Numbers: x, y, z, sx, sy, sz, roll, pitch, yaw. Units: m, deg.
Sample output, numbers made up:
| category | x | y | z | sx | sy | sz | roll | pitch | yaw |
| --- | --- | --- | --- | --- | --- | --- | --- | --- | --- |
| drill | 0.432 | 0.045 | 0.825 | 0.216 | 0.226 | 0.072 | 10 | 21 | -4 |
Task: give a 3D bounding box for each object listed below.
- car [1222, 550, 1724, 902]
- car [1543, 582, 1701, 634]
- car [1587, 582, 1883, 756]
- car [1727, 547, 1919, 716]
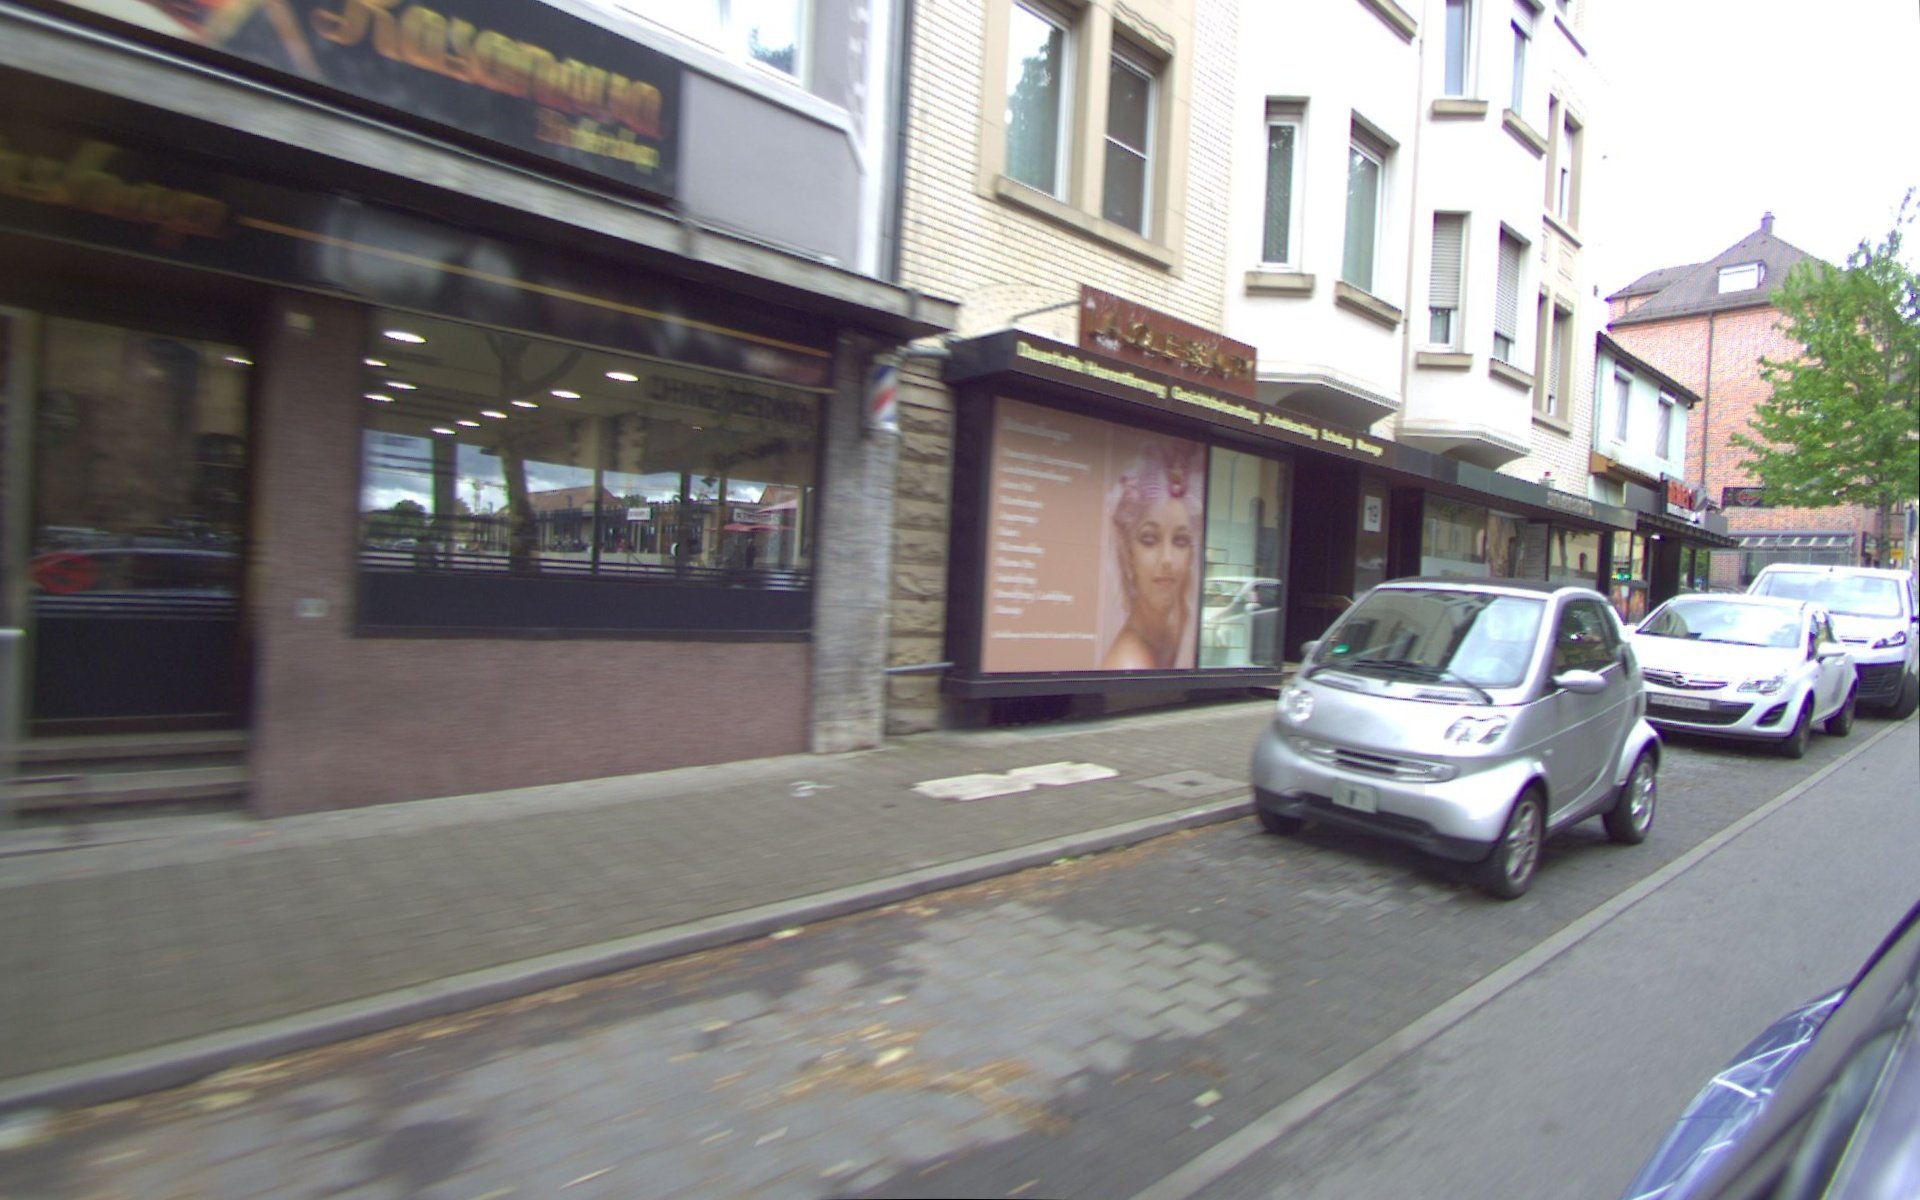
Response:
| category | x | y | z | sx | sy | sz | roll | pitch | yaw |
| --- | --- | --- | --- | --- | --- | --- | --- | --- | --- |
| car | 3.298 | 0.554 | 6.247 | 3.460 | 1.553 | 1.485 | 1 | 3 | -40 |
| car | 20.169 | 0.216 | 31.022 | 1.668 | 1.469 | 3.892 | 0 | 0 | -16 |
| car | 8.300 | 0.599 | 10.714 | 3.971 | 1.432 | 1.687 | 0 | 3 | -41 |
| car | 12.470 | 0.340 | 14.241 | 4.839 | 1.954 | 1.908 | 0 | 3 | -44 |
